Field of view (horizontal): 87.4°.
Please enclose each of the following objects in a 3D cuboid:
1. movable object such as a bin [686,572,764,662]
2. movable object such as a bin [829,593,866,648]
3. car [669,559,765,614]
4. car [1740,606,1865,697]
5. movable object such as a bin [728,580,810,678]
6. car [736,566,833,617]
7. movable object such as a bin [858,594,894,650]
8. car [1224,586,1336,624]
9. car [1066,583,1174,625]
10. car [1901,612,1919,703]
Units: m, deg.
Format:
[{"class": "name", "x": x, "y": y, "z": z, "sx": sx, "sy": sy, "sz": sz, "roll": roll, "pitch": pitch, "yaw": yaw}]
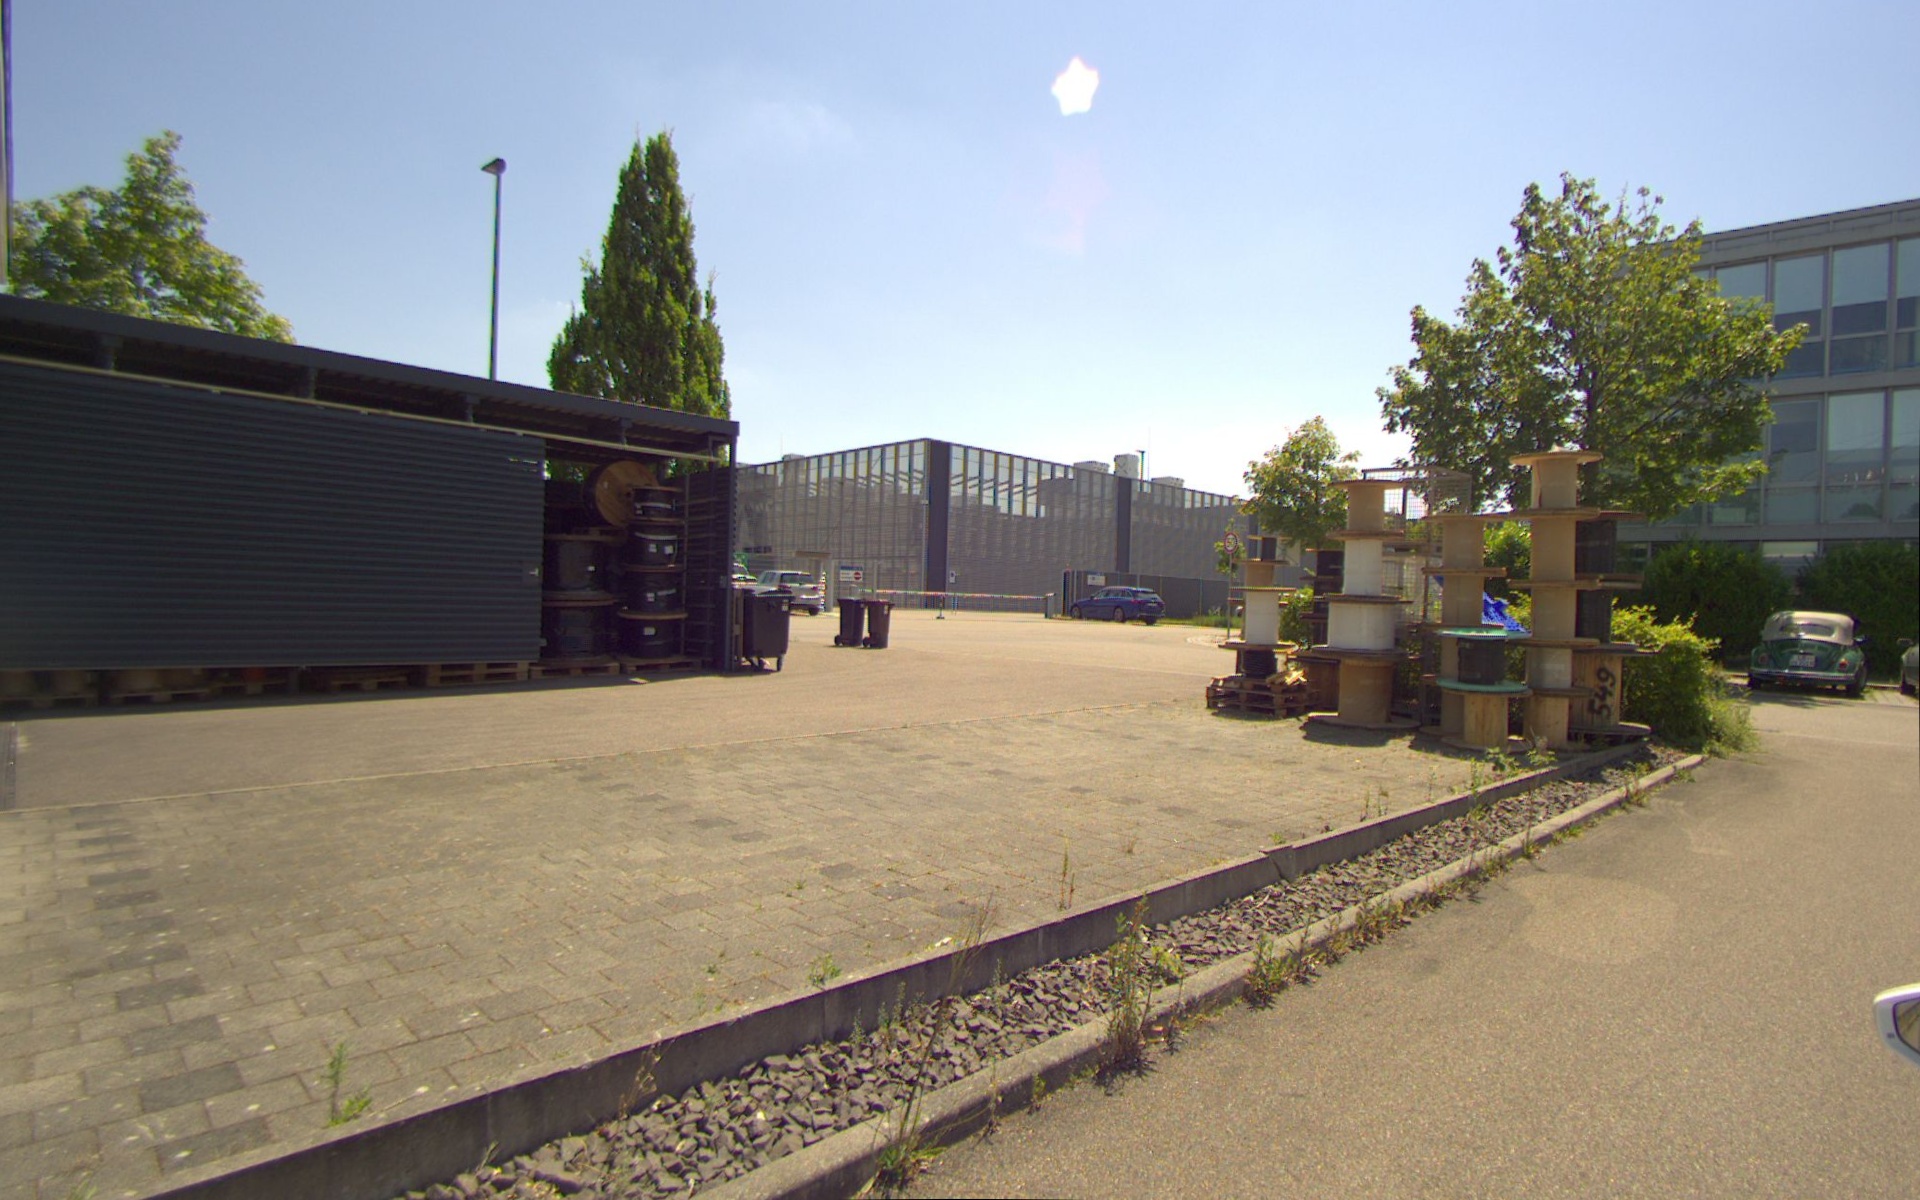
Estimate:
[{"class": "movable object such as a bin", "x": -3.671, "y": 0.260, "z": 15.698, "sx": 0.965, "sy": 1.347, "sz": 0.702, "roll": 1, "pitch": 1, "yaw": -39}, {"class": "movable object such as a bin", "x": -2.186, "y": 0.391, "z": 19.523, "sx": 0.570, "sy": 1.041, "sz": 0.426, "roll": 2, "pitch": 1, "yaw": 13}, {"class": "car", "x": -8.101, "y": -0.478, "z": 33.253, "sx": 1.977, "sy": 1.611, "sz": 3.967, "roll": 3, "pitch": 1, "yaw": -30}, {"class": "car", "x": 15.921, "y": 0.891, "z": 18.918, "sx": 1.525, "sy": 1.468, "sz": 3.632, "roll": 4, "pitch": 2, "yaw": 44}, {"class": "movable object such as a bin", "x": -2.786, "y": 0.411, "z": 14.639, "sx": 0.876, "sy": 1.363, "sz": 0.804, "roll": 1, "pitch": 1, "yaw": -39}, {"class": "car", "x": -6.082, "y": -0.321, "z": 34.481, "sx": 1.977, "sy": 1.511, "sz": 3.967, "roll": 3, "pitch": 1, "yaw": -30}, {"class": "movable object such as a bin", "x": -1.618, "y": 0.417, "z": 19.386, "sx": 0.567, "sy": 1.050, "sz": 0.426, "roll": 2, "pitch": 1, "yaw": 13}, {"class": "car", "x": 14.633, "y": 0.206, "z": 46.158, "sx": 1.976, "sy": 1.512, "sz": 4.815, "roll": 1, "pitch": 2, "yaw": -30}, {"class": "car", "x": 6.455, "y": 0.122, "z": 40.940, "sx": 1.976, "sy": 1.512, "sz": 4.478, "roll": 1, "pitch": 2, "yaw": -30}, {"class": "car", "x": 17.715, "y": 1.007, "z": 17.440, "sx": 1.711, "sy": 1.468, "sz": 3.636, "roll": 4, "pitch": 2, "yaw": 40}]
